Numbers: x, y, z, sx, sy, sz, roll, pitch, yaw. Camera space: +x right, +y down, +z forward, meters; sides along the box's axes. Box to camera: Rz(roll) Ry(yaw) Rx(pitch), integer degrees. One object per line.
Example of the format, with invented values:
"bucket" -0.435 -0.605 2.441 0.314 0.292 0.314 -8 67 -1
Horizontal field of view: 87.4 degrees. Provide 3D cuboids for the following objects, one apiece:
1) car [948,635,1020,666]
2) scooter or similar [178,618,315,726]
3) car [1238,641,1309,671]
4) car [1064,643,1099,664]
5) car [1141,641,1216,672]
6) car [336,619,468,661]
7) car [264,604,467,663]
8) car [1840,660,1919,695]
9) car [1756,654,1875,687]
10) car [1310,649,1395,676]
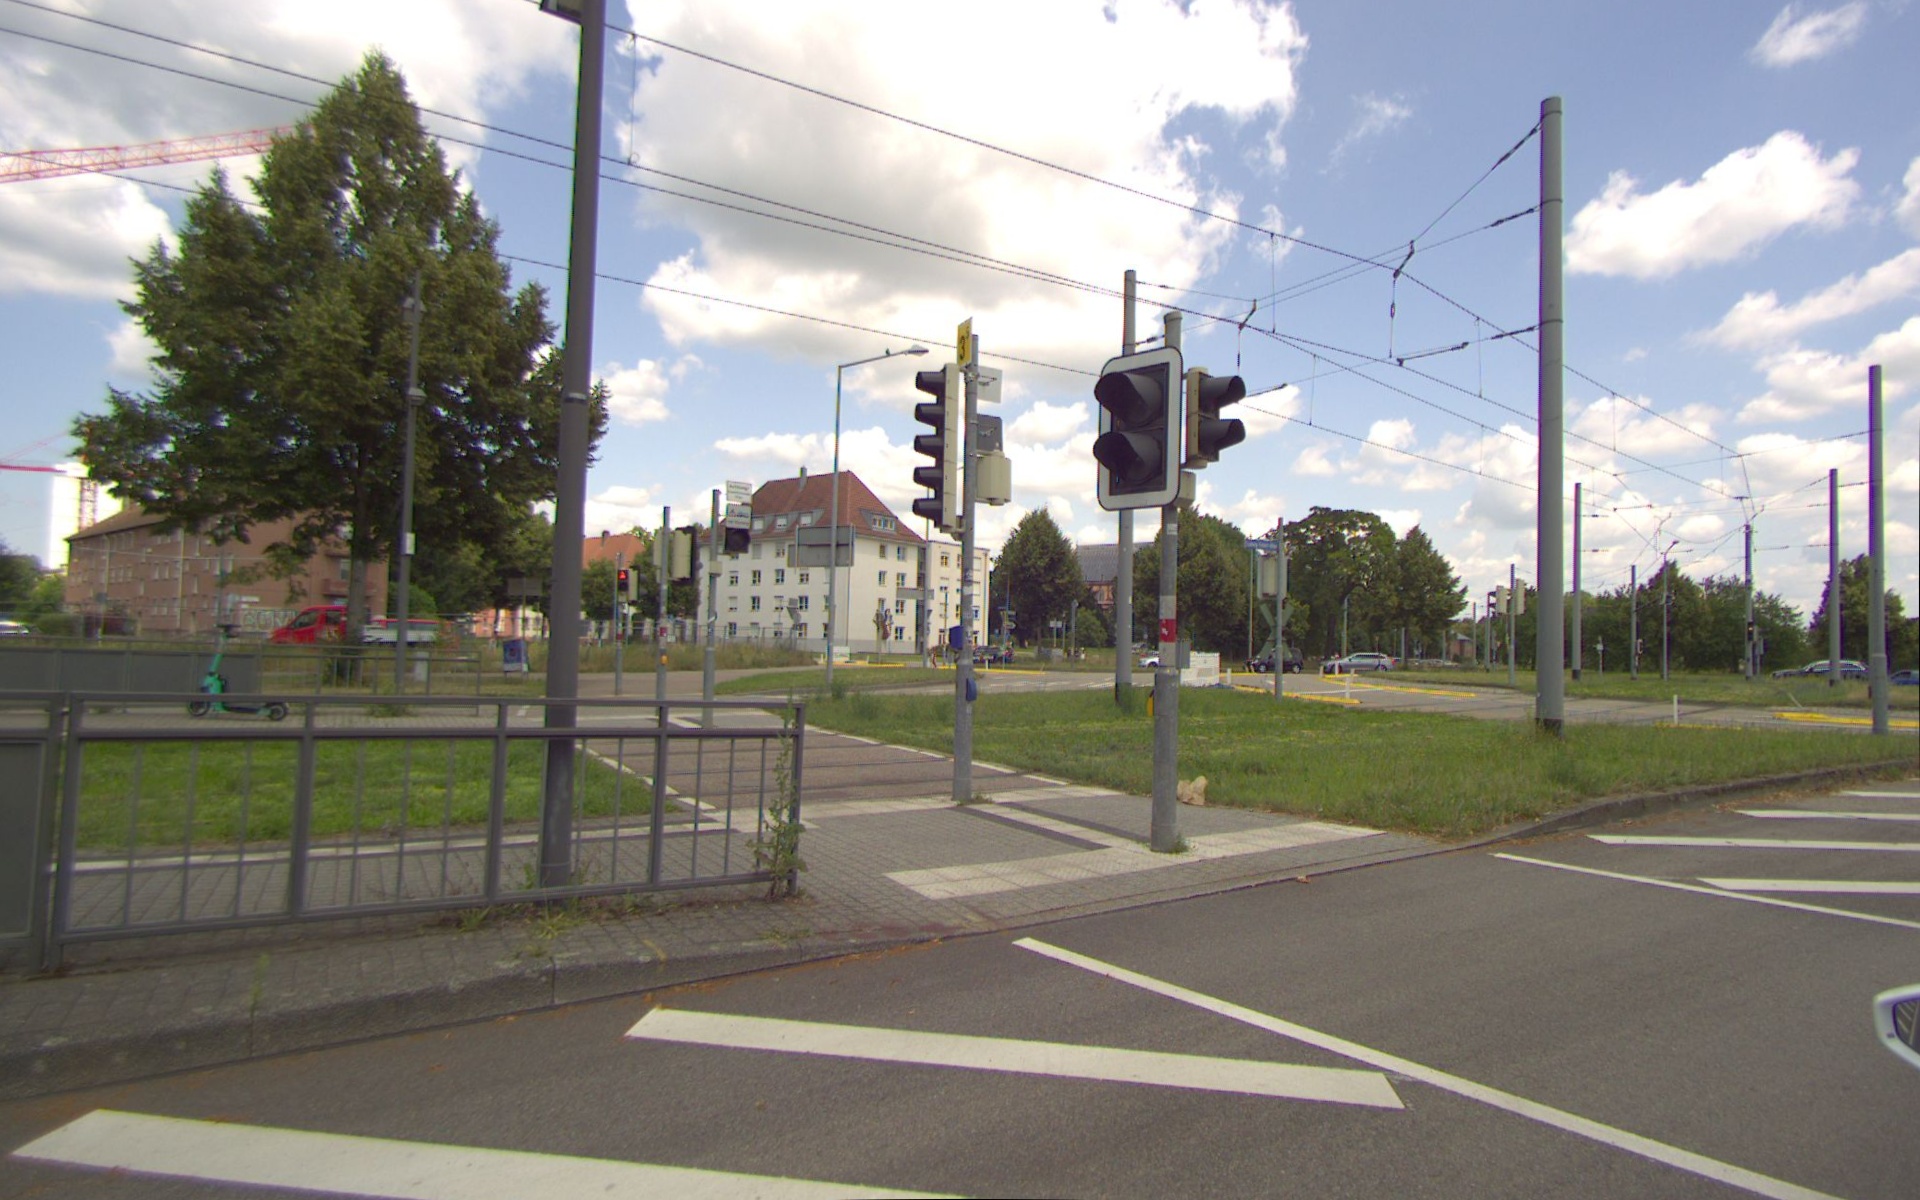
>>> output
"car" 1.687 3.521 69.893 4.630 2.040 2.002 1 -2 13
"scooter or similar" -9.403 0.953 13.272 1.322 1.319 0.418 4 -2 -12
"car" 22.093 3.939 70.788 4.660 2.040 1.988 2 -2 -24
"car" 12.145 5.323 100.428 1.965 2.040 3.991 0 -3 32
"car" 14.957 3.860 68.783 4.638 2.040 1.998 1 -2 -8
"car" -26.713 1.937 48.260 5.096 1.876 2.083 2 -2 -14
"car" -24.449 1.395 41.585 6.714 2.226 2.392 2 -2 -9
"car" 57.899 4.839 62.369 4.647 1.815 1.842 2 2 35
"car" 48.925 4.026 57.588 4.987 1.696 1.994 0 -3 35
"car" 26.191 4.168 67.170 4.845 1.648 2.067 1 0 2
